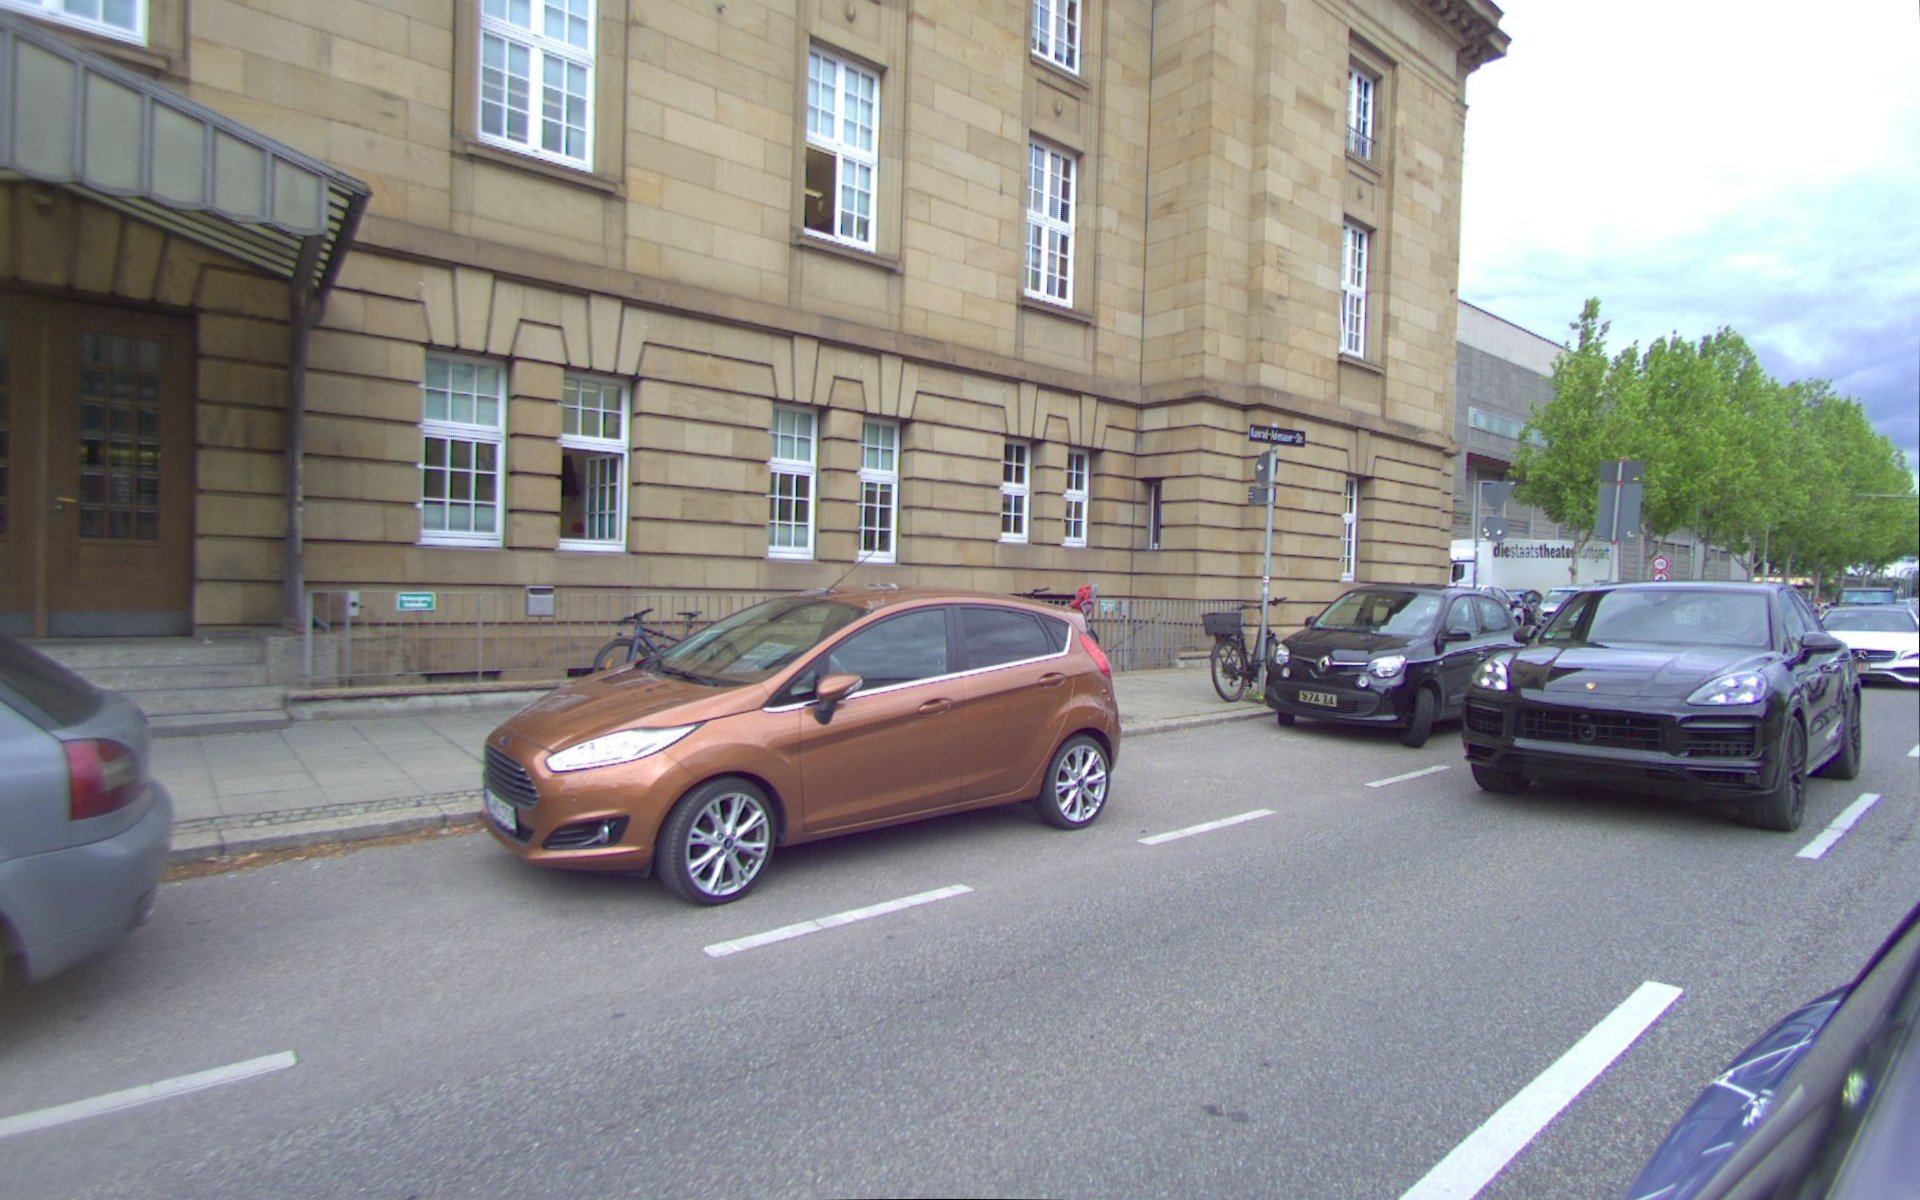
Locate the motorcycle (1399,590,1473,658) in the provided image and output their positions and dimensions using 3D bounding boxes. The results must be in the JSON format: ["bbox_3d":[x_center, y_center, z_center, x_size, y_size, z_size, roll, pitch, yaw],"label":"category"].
[{"bbox_3d":[9.330,0.445,19.819,1.887,1.257,0.456,0,2,-37],"label":"motorcycle"}]

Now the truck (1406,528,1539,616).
[{"bbox_3d":[25.535,-1.359,50.338,6.446,4.136,3.143,0,1,-33],"label":"truck"}]

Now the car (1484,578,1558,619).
[{"bbox_3d":[24.084,-0.078,43.379,3.697,1.710,1.717,0,1,-43],"label":"car"}]

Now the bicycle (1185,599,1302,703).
[{"bbox_3d":[3.485,0.581,12.348,1.799,1.171,0.460,0,1,-42],"label":"bicycle"}]

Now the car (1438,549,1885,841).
[{"bbox_3d":[5.635,0.547,7.926,4.128,1.679,1.905,-1,-1,-42],"label":"car"}]

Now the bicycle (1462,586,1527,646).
[{"bbox_3d":[11.855,0.329,22.429,1.930,1.239,0.610,0,4,-44],"label":"bicycle"}]

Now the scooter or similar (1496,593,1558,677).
[{"bbox_3d":[8.924,0.528,15.910,1.378,1.277,0.380,0,1,-41],"label":"scooter or similar"}]

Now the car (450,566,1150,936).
[{"bbox_3d":[-0.733,0.587,5.969,3.791,1.473,1.619,0,3,-41],"label":"car"}]

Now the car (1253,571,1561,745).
[{"bbox_3d":[4.953,0.521,11.041,3.641,1.571,1.550,0,2,-39],"label":"car"}]

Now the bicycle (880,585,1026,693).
[{"bbox_3d":[-0.059,0.447,12.490,1.882,1.232,0.556,0,1,-41],"label":"bicycle"}]

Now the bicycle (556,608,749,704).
[{"bbox_3d":[-2.989,0.518,9.984,1.844,0.855,0.307,-1,0,-39],"label":"bicycle"}]

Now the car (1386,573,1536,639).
[{"bbox_3d":[12.472,0.141,25.054,4.495,1.488,1.781,1,0,-42],"label":"car"}]

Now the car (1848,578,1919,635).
[{"bbox_3d":[34.077,0.219,36.878,4.321,1.950,1.952,0,1,-40],"label":"car"}]

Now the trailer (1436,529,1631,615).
[{"bbox_3d":[30.748,-1.420,53.841,13.702,4.153,3.159,-1,0,-34],"label":"trailer"}]

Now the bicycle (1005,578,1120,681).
[{"bbox_3d":[1.400,0.368,13.598,1.759,1.304,0.413,0,1,-41],"label":"bicycle"}]

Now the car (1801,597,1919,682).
[{"bbox_3d":[16.906,0.649,18.559,3.935,1.393,1.931,0,1,-45],"label":"car"}]

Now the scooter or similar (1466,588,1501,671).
[{"bbox_3d":[8.587,0.454,16.579,0.448,1.268,1.356,1,2,29],"label":"scooter or similar"}]

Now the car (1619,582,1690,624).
[{"bbox_3d":[27.138,0.100,39.503,3.444,1.549,1.582,0,1,-43],"label":"car"}]

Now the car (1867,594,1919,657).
[{"bbox_3d":[24.182,0.608,25.550,3.562,1.491,1.610,0,1,-43],"label":"car"}]

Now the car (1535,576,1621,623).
[{"bbox_3d":[25.438,-0.020,41.628,4.543,1.807,1.807,0,-1,-43],"label":"car"}]

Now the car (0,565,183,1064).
[{"bbox_3d":[-4.534,0.621,2.609,3.927,1.443,1.712,0,3,-41],"label":"car"}]

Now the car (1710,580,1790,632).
[{"bbox_3d":[28.438,0.222,36.392,1.805,1.760,4.413,1,0,44],"label":"car"}]
